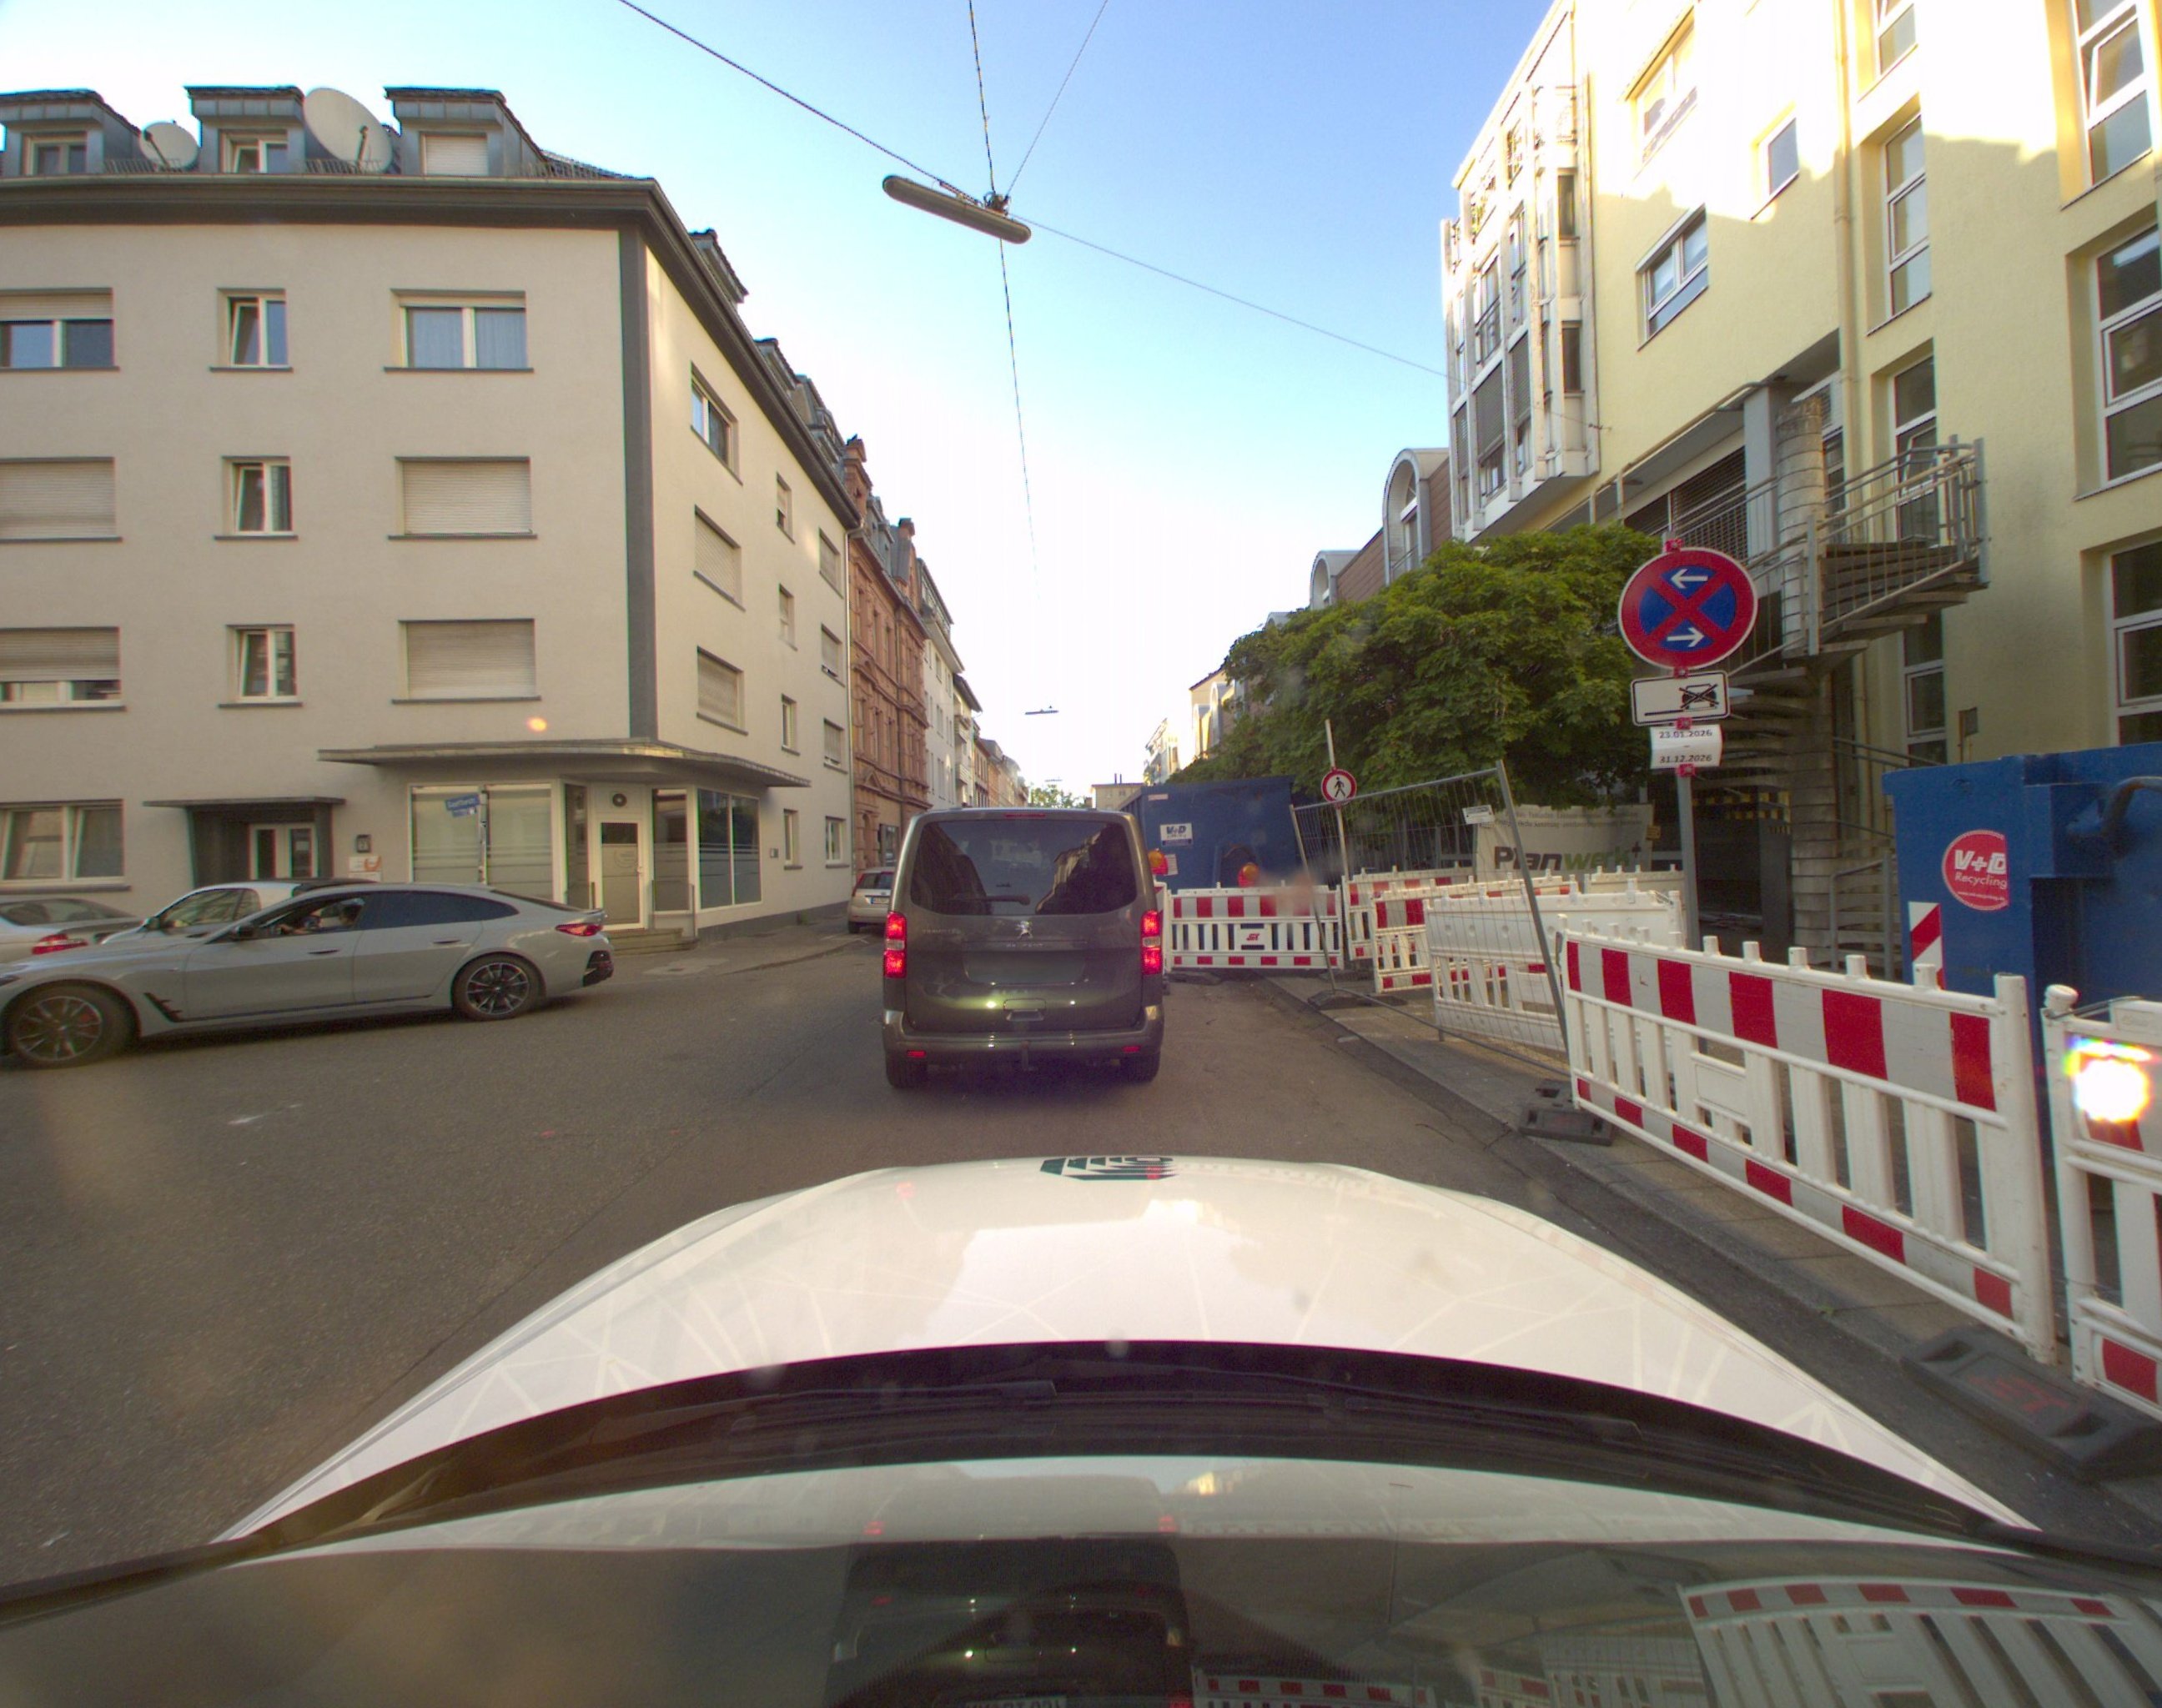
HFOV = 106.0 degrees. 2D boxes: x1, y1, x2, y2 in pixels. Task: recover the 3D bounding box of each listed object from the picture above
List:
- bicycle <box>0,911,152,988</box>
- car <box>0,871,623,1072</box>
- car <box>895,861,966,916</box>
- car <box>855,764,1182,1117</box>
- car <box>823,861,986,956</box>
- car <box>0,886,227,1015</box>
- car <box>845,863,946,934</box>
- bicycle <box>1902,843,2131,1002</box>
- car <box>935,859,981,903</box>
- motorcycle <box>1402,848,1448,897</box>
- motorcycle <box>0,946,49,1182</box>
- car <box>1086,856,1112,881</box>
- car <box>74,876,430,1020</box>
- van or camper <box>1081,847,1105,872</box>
[{"bbox_3d":[-16.023,1.494,12.845,2.046,1.137,0.488,0,-1,-4],"label":"bicycle"},{"bbox_3d":[-7.538,0.986,8.485,4.681,1.486,1.979,-1,0,-34],"label":"car"},{"bbox_3d":[-4.431,0.983,24.446,1.551,1.508,3.595,1,0,-2],"label":"car"},{"bbox_3d":[-0.419,0.518,6.917,1.853,2.013,3.997,-4,0,-2],"label":"car"},{"bbox_3d":[-3.112,0.904,15.266,1.986,1.486,4.002,-1,0,2],"label":"car"},{"bbox_3d":[-14.381,1.230,10.637,4.238,1.453,1.967,-1,0,-2],"label":"car"},{"bbox_3d":[-4.202,0.954,18.950,1.628,1.430,3.552,-1,0,-2],"label":"car"},{"bbox_3d":[7.998,0.549,6.974,1.646,1.268,0.547,0,-1,-12],"label":"bicycle"},{"bbox_3d":[-4.656,0.985,31.118,1.392,1.588,2.792,-1,0,-2],"label":"car"},{"bbox_3d":[9.214,0.474,21.918,0.863,1.222,2.468,-3,-1,17],"label":"motorcycle"},{"bbox_3d":[-6.708,1.152,4.270,1.684,1.249,0.808,0,1,6],"label":"motorcycle"},{"bbox_3d":[1.266,1.020,57.675,1.742,1.683,4.526,-1,0,1],"label":"car"},{"bbox_3d":[-10.300,1.111,10.295,2.746,1.566,1.648,-1,0,-1],"label":"car"},{"bbox_3d":[1.314,0.640,90.509,2.094,2.602,7.505,-3,0,-2],"label":"van or camper"}]
